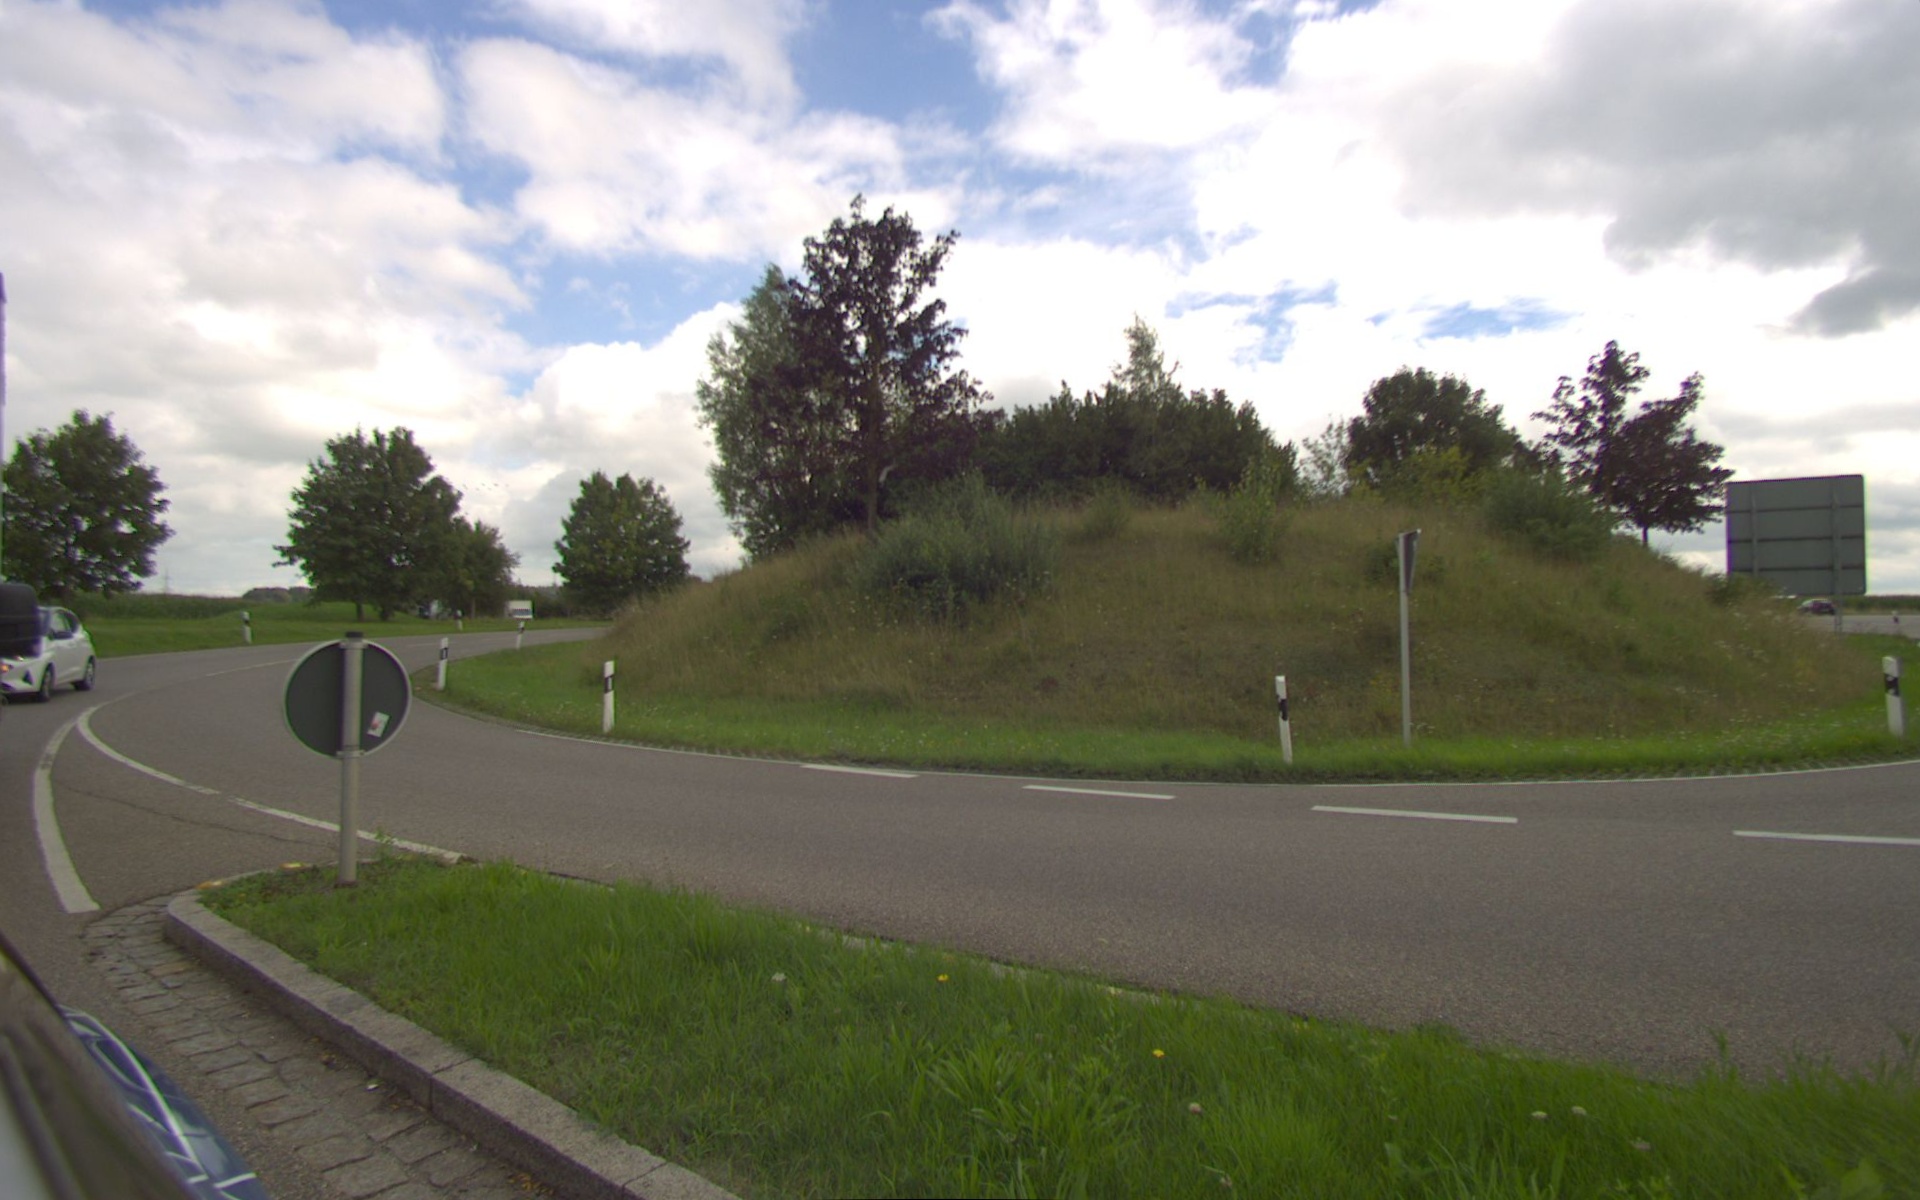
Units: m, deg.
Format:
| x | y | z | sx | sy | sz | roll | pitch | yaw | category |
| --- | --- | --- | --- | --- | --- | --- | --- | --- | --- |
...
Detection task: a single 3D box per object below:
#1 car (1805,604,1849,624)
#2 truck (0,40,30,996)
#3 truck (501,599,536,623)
| x | y | z | sx | sy | sz | roll | pitch | yaw | category |
| --- | --- | --- | --- | --- | --- | --- | --- | --- | --- |
| 74.559 | 1.206 | 87.064 | 1.839 | 1.702 | 3.965 | -1 | -1 | 25 | car |
| -7.799 | -0.337 | 6.274 | 2.796 | 3.792 | 8.808 | 2 | -1 | -43 | truck |
| -46.217 | 1.177 | 105.752 | 2.254 | 2.439 | 6.399 | 0 | -1 | -34 | truck |
